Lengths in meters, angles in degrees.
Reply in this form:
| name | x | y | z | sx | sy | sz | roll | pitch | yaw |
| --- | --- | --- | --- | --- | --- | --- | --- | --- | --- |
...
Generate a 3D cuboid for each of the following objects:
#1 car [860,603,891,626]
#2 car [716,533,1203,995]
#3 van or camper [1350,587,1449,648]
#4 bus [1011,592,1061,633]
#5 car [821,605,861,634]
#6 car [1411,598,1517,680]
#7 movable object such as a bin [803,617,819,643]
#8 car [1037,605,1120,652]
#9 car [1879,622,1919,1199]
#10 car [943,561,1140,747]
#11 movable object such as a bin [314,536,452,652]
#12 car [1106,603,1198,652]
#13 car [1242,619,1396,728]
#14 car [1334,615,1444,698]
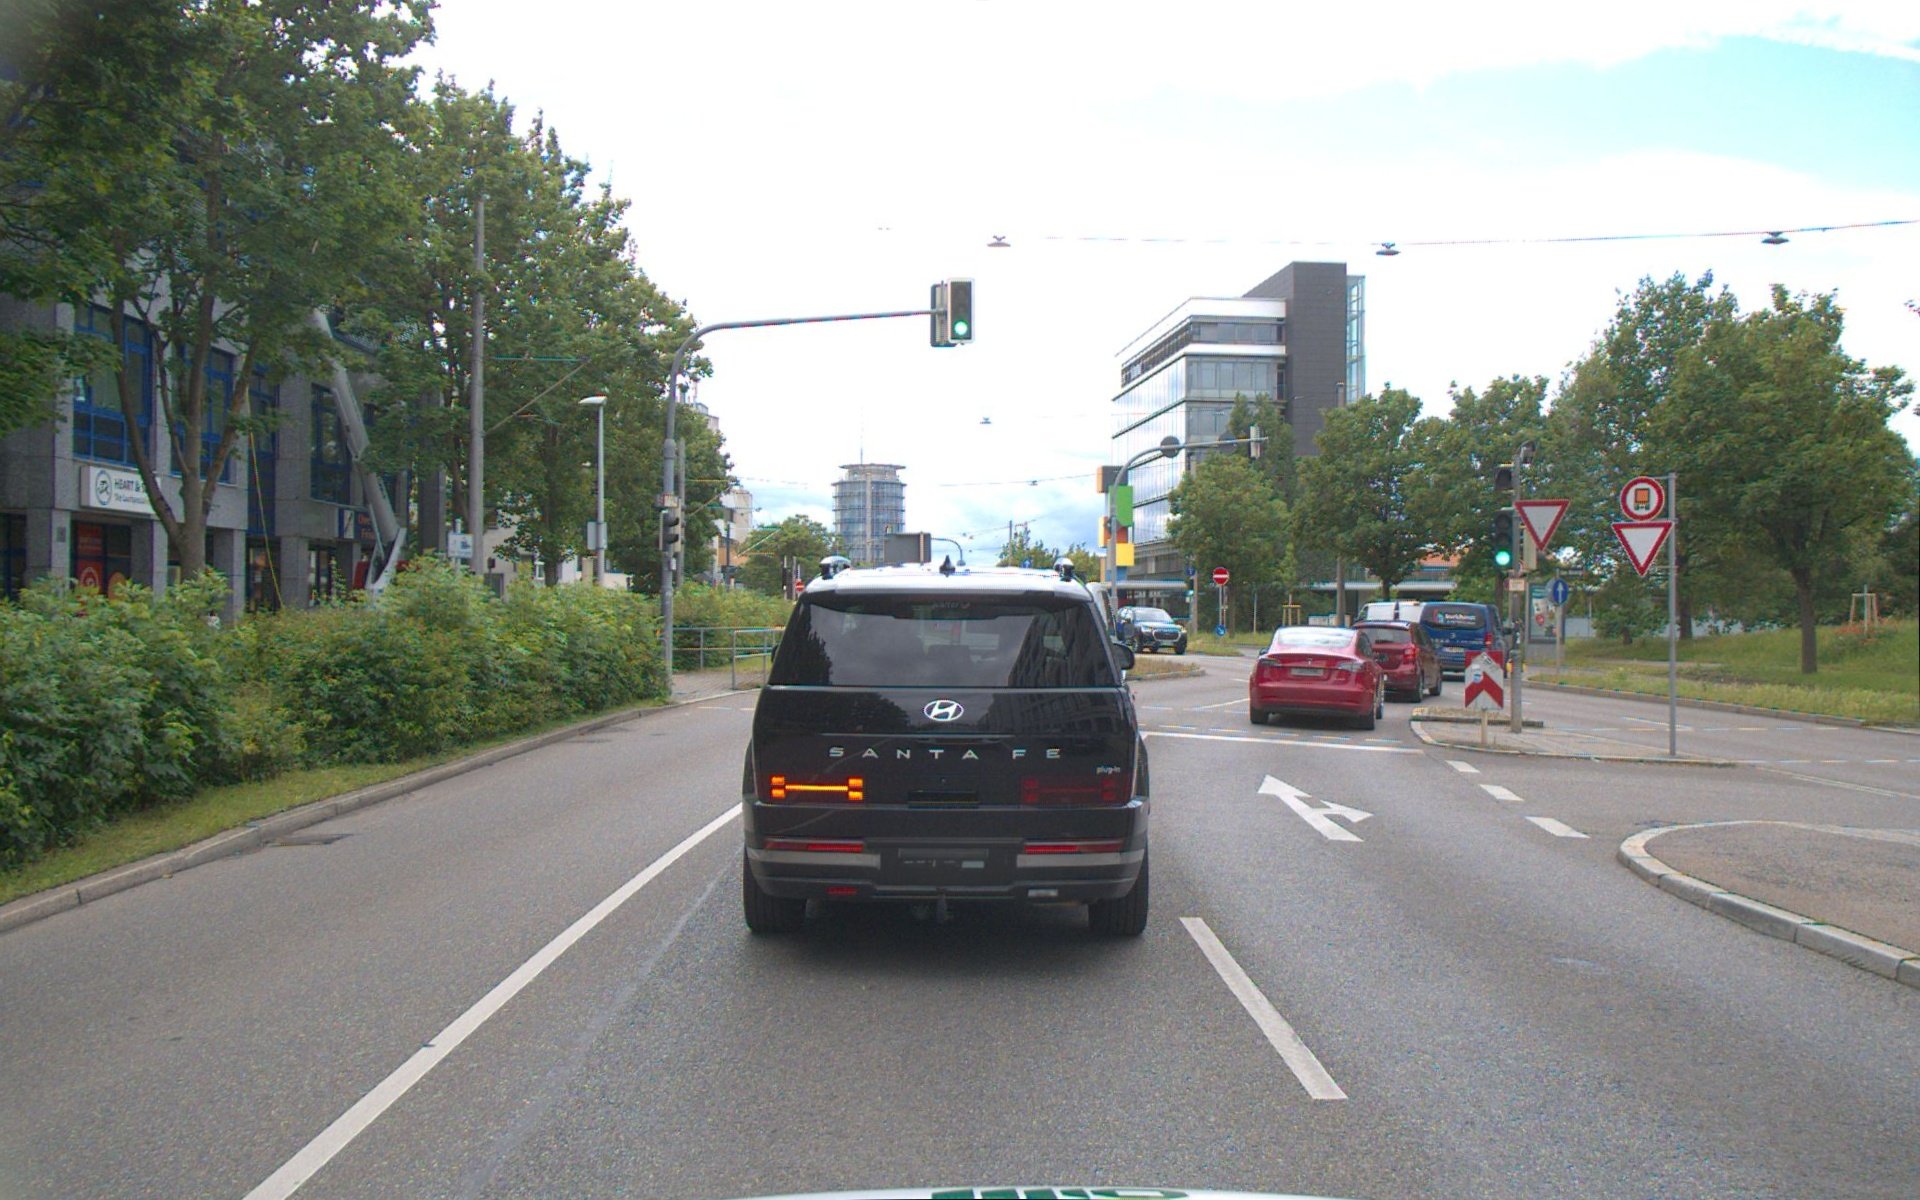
| name | x | y | z | sx | sy | sz | roll | pitch | yaw |
| --- | --- | --- | --- | --- | --- | --- | --- | --- | --- |
| car | -5.748 | 0.976 | 111.852 | 1.764 | 1.480 | 4.606 | 2 | 0 | -6 |
| car | -0.030 | 0.654 | 8.727 | 1.863 | 1.762 | 4.445 | 2 | 0 | -1 |
| van or camper | 15.057 | 0.570 | 56.851 | 1.954 | 1.951 | 4.405 | 1 | 1 | -4 |
| bus | 6.010 | 1.043 | 132.223 | 2.908 | 3.171 | 9.236 | -1 | -1 | -4 |
| car | -6.994 | 1.146 | 96.777 | 1.751 | 1.564 | 4.384 | 2 | 0 | -11 |
| car | 12.735 | 0.953 | 41.608 | 1.864 | 1.891 | 4.705 | 2 | 0 | 25 |
| movable object such as a bin | -6.079 | 1.232 | 67.534 | 0.553 | 1.030 | 0.836 | 1 | -1 | -11 |
| car | 4.072 | 0.962 | 57.619 | 1.751 | 1.450 | 4.384 | 2 | 0 | -11 |
| car | 2.997 | 0.815 | 1.754 | 1.667 | 1.486 | 4.060 | 2 | 0 | -2 |
| car | 1.151 | 0.607 | 20.703 | 1.861 | 2.003 | 4.639 | 2 | 0 | 10 |
| movable object such as a bin | -13.685 | -0.138 | 39.501 | 1.866 | 2.576 | 4.126 | 2 | 0 | -2 |
| car | 6.810 | 0.948 | 58.975 | 1.856 | 1.592 | 4.381 | 2 | 0 | -13 |
| car | 5.587 | 1.051 | 25.326 | 1.834 | 1.443 | 4.444 | 2 | 0 | 18 |
| car | 8.588 | 1.076 | 32.898 | 1.709 | 1.507 | 3.718 | 1 | 0 | 21 |
